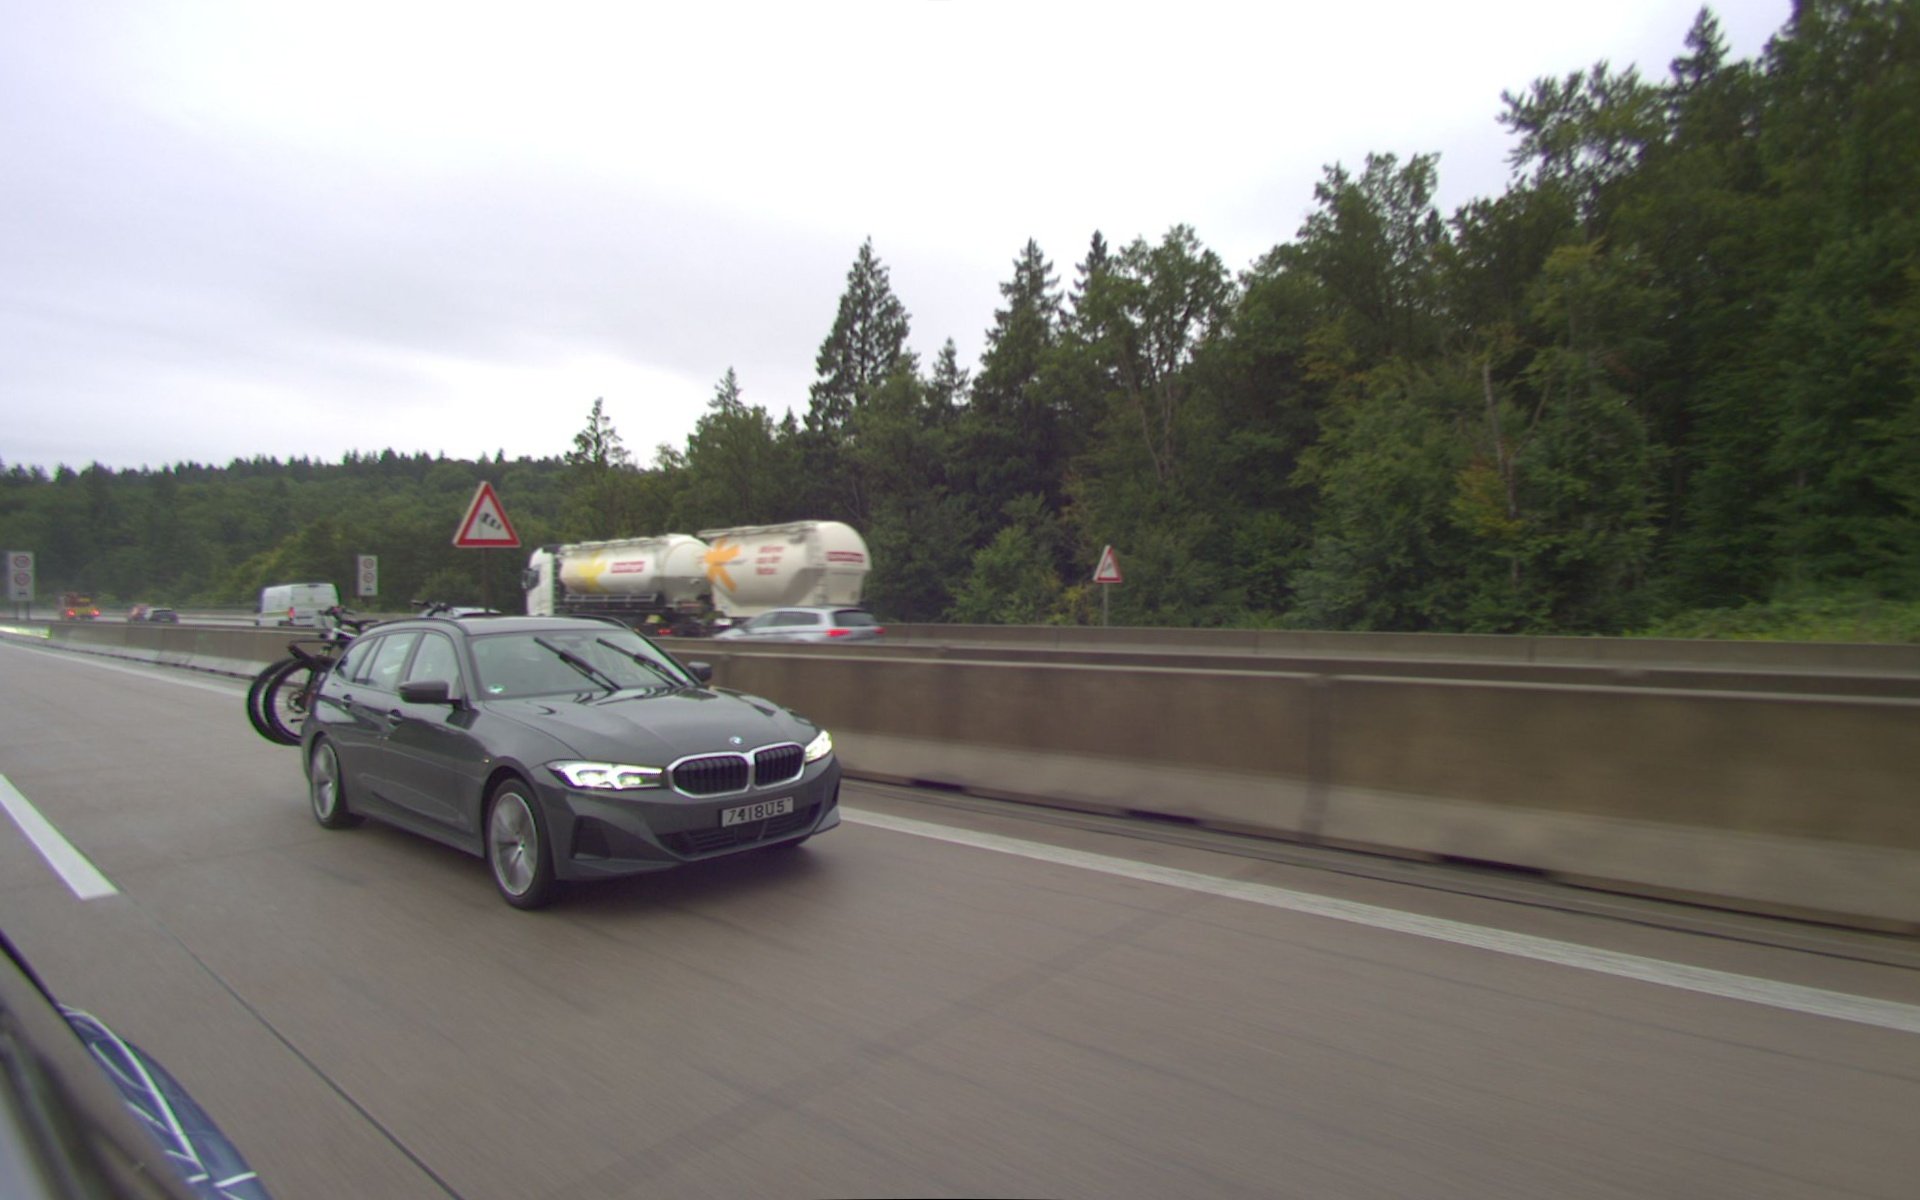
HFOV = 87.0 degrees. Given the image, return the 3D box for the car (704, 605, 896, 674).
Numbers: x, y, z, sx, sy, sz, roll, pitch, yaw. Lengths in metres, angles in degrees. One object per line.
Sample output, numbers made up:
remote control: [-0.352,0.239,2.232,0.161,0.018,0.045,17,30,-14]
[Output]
car: [-3.682,0.836,22.714,4.719,1.382,1.641,-1,0,42]

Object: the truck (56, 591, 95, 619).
truck: [-105.386,0.628,120.504,10.662,3.198,2.406,-1,0,43]

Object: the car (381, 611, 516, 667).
car: [-13.935,1.008,27.448,4.756,1.382,1.641,-1,0,42]

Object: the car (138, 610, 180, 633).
car: [-55.845,1.486,70.565,4.642,1.565,1.591,-1,0,43]

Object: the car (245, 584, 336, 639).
car: [-31.899,0.544,48.122,6.744,2.467,1.972,-1,0,42]

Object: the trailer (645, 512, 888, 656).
trailer: [-5.892,-0.360,29.676,8.227,3.695,2.519,-1,0,42]

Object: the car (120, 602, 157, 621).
car: [-76.028,1.040,93.614,4.974,1.712,1.972,-1,0,43]

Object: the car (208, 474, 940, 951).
car: [-3.074,0.496,6.871,6.157,1.959,1.888,-1,0,40]

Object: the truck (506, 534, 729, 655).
truck: [-12.254,-0.116,35.372,10.488,3.695,2.537,-1,0,42]
